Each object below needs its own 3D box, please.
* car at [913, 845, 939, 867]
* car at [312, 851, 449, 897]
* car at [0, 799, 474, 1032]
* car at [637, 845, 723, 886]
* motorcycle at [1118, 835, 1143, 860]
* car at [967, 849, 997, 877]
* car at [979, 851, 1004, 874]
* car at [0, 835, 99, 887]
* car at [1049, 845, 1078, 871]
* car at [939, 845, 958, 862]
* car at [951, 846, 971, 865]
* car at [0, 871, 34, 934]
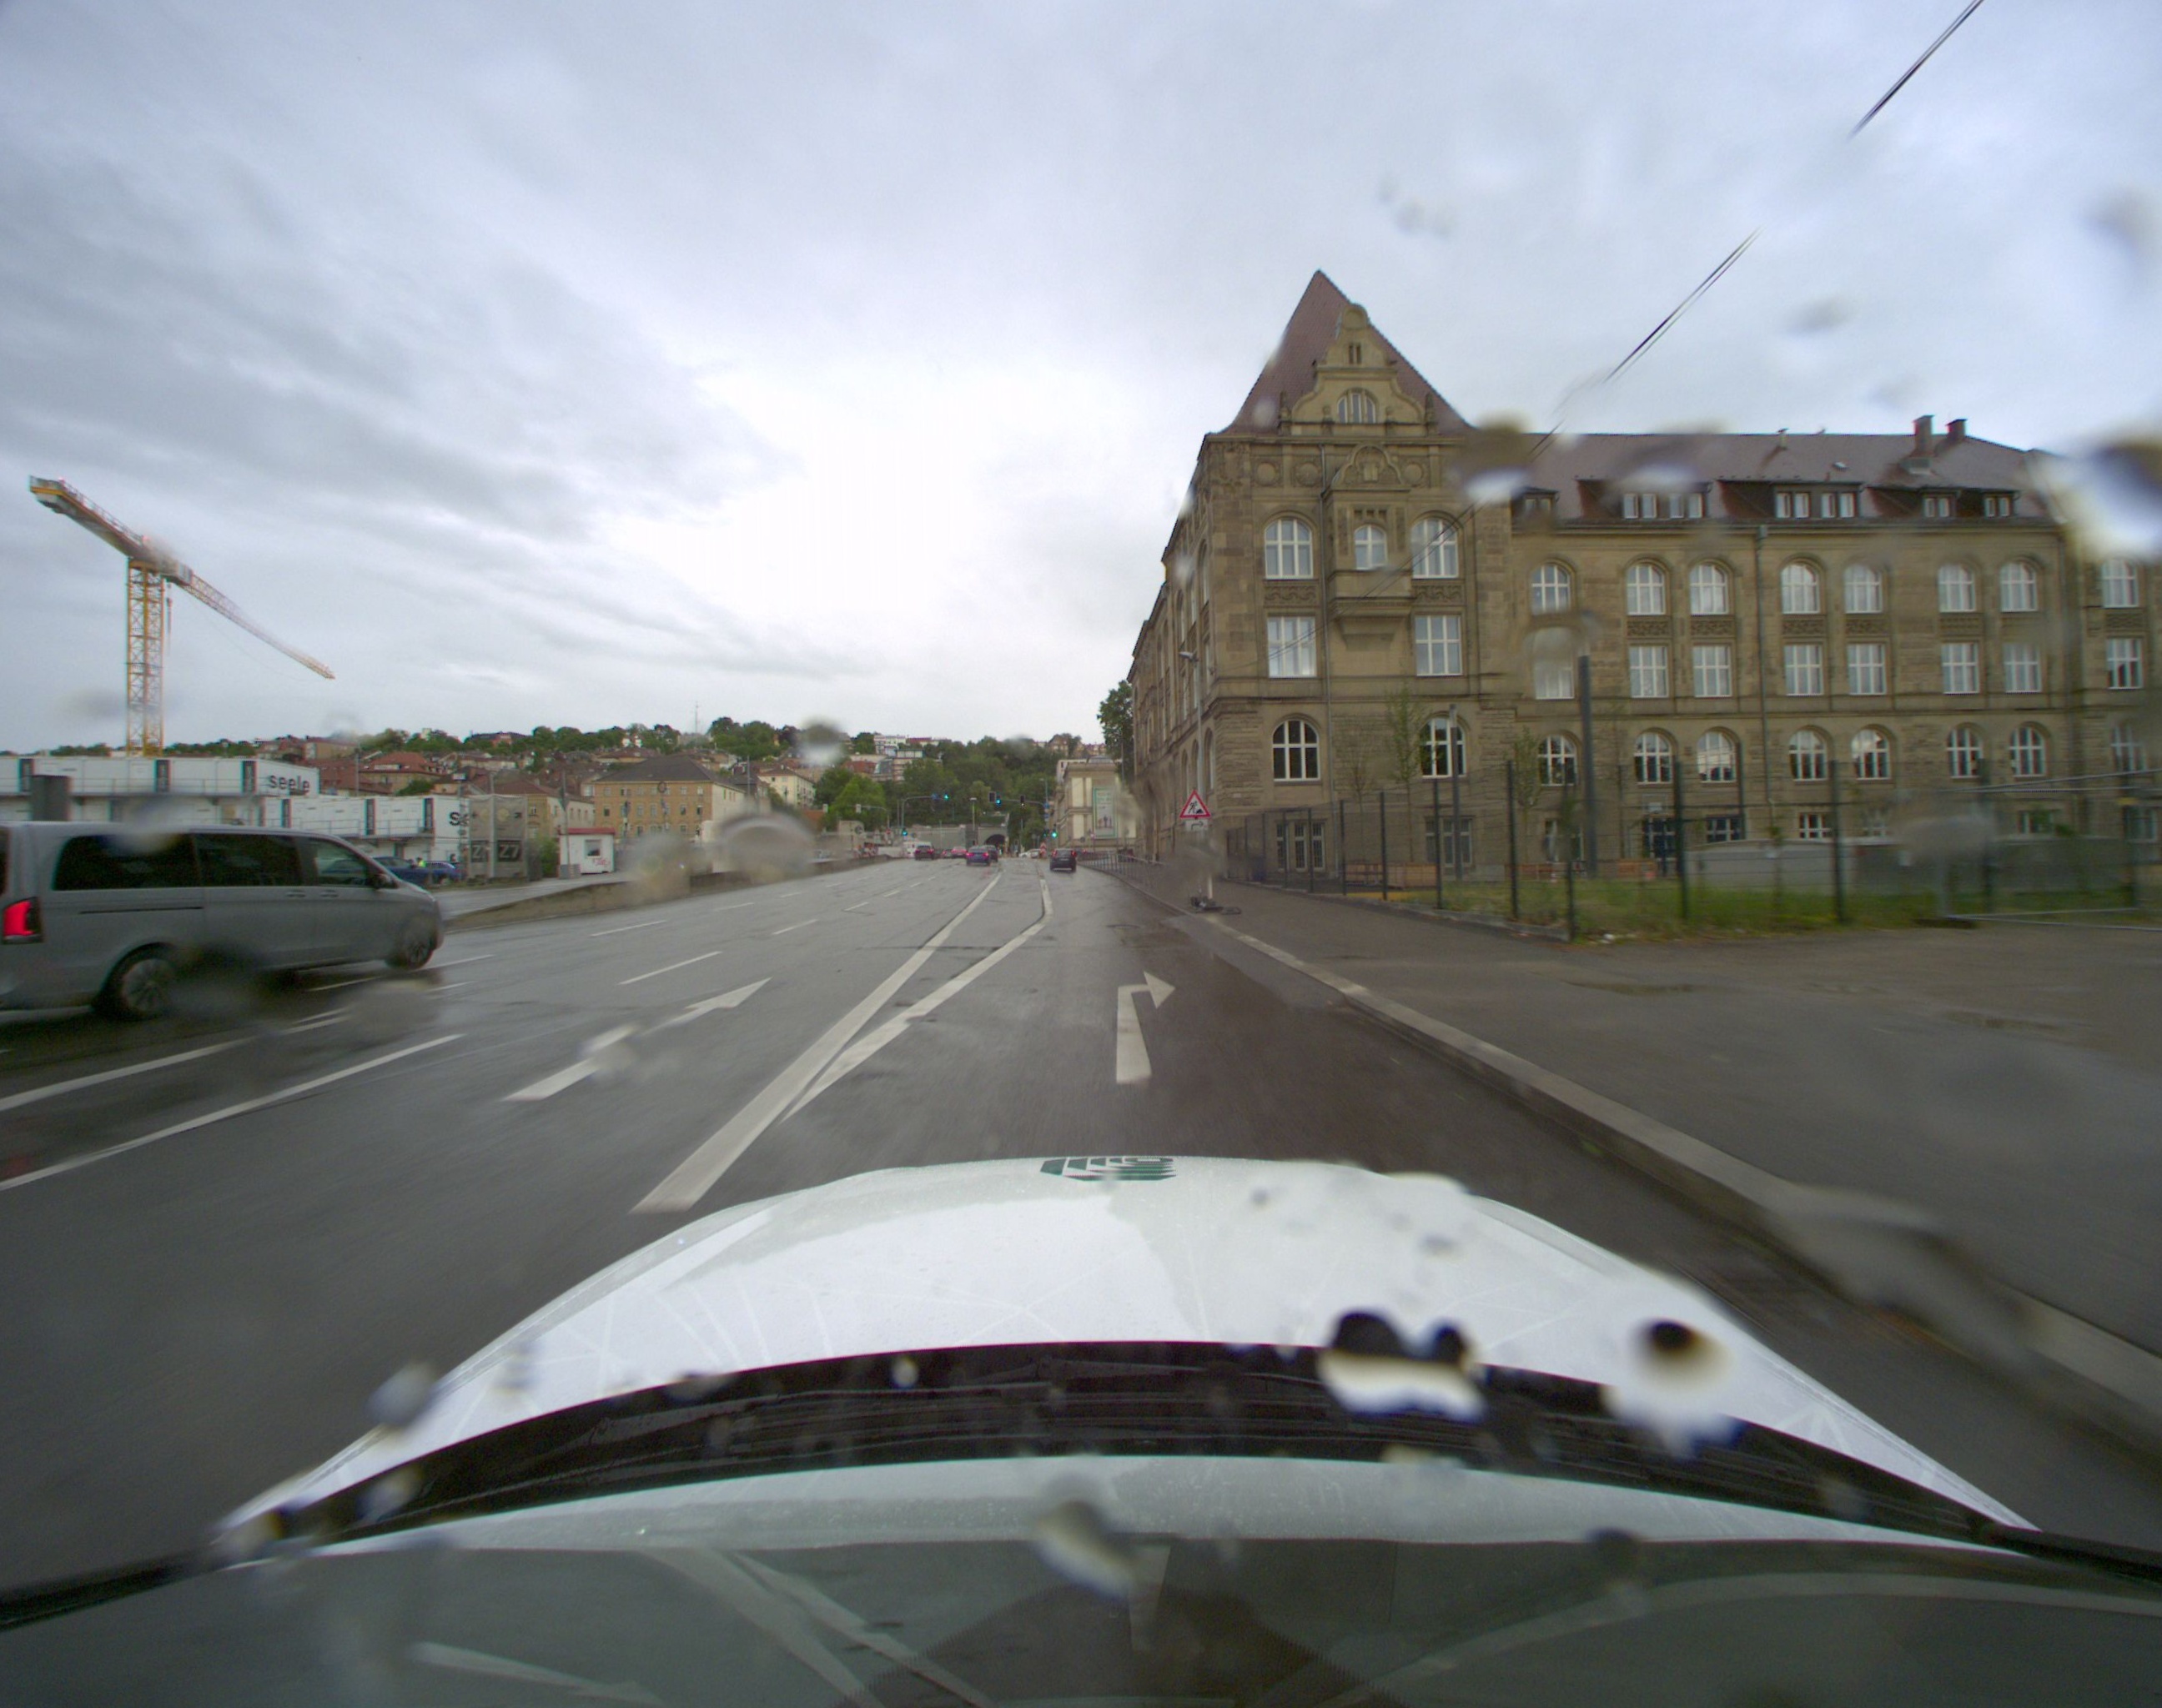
[{"bbox_3d":[-15.008,0.223,79.001,2.013,2.014,3.992,-2,-2,-5],"label":"car"},{"bbox_3d":[-27.802,0.746,32.508,1.988,1.621,3.998,-1,1,-1],"label":"car"},{"bbox_3d":[-9.607,0.538,9.073,1.990,1.856,5.348,0,-1,-5],"label":"car"},{"bbox_3d":[-19.438,0.609,39.729,1.991,1.756,5.287,-2,-2,-6],"label":"car"},{"bbox_3d":[4.181,-0.555,69.164,1.790,2.013,3.811,-1,1,-1],"label":"motorcycle"},{"bbox_3d":[-7.777,0.706,64.039,2.101,2.051,3.992,-2,-2,-5],"label":"car"},{"bbox_3d":[-8.423,0.832,76.892,1.770,2.014,4.000,-2,-2,1],"label":"car"},{"bbox_3d":[-61.472,0.498,48.097,2.000,2.830,5.276,-1,-2,-20],"label":"car"},{"bbox_3d":[-1.157,0.310,53.490,1.807,1.527,3.996,-2,-2,-2],"label":"car"},{"bbox_3d":[-17.652,-0.049,108.554,1.989,2.014,3.996,-2,-2,-2],"label":"car"},{"bbox_3d":[-13.698,0.228,93.106,2.049,2.014,3.991,-2,-2,-6],"label":"car"},{"bbox_3d":[-28.171,1.206,18.786,1.753,1.566,4.688,-2,-2,5],"label":"car"}]
